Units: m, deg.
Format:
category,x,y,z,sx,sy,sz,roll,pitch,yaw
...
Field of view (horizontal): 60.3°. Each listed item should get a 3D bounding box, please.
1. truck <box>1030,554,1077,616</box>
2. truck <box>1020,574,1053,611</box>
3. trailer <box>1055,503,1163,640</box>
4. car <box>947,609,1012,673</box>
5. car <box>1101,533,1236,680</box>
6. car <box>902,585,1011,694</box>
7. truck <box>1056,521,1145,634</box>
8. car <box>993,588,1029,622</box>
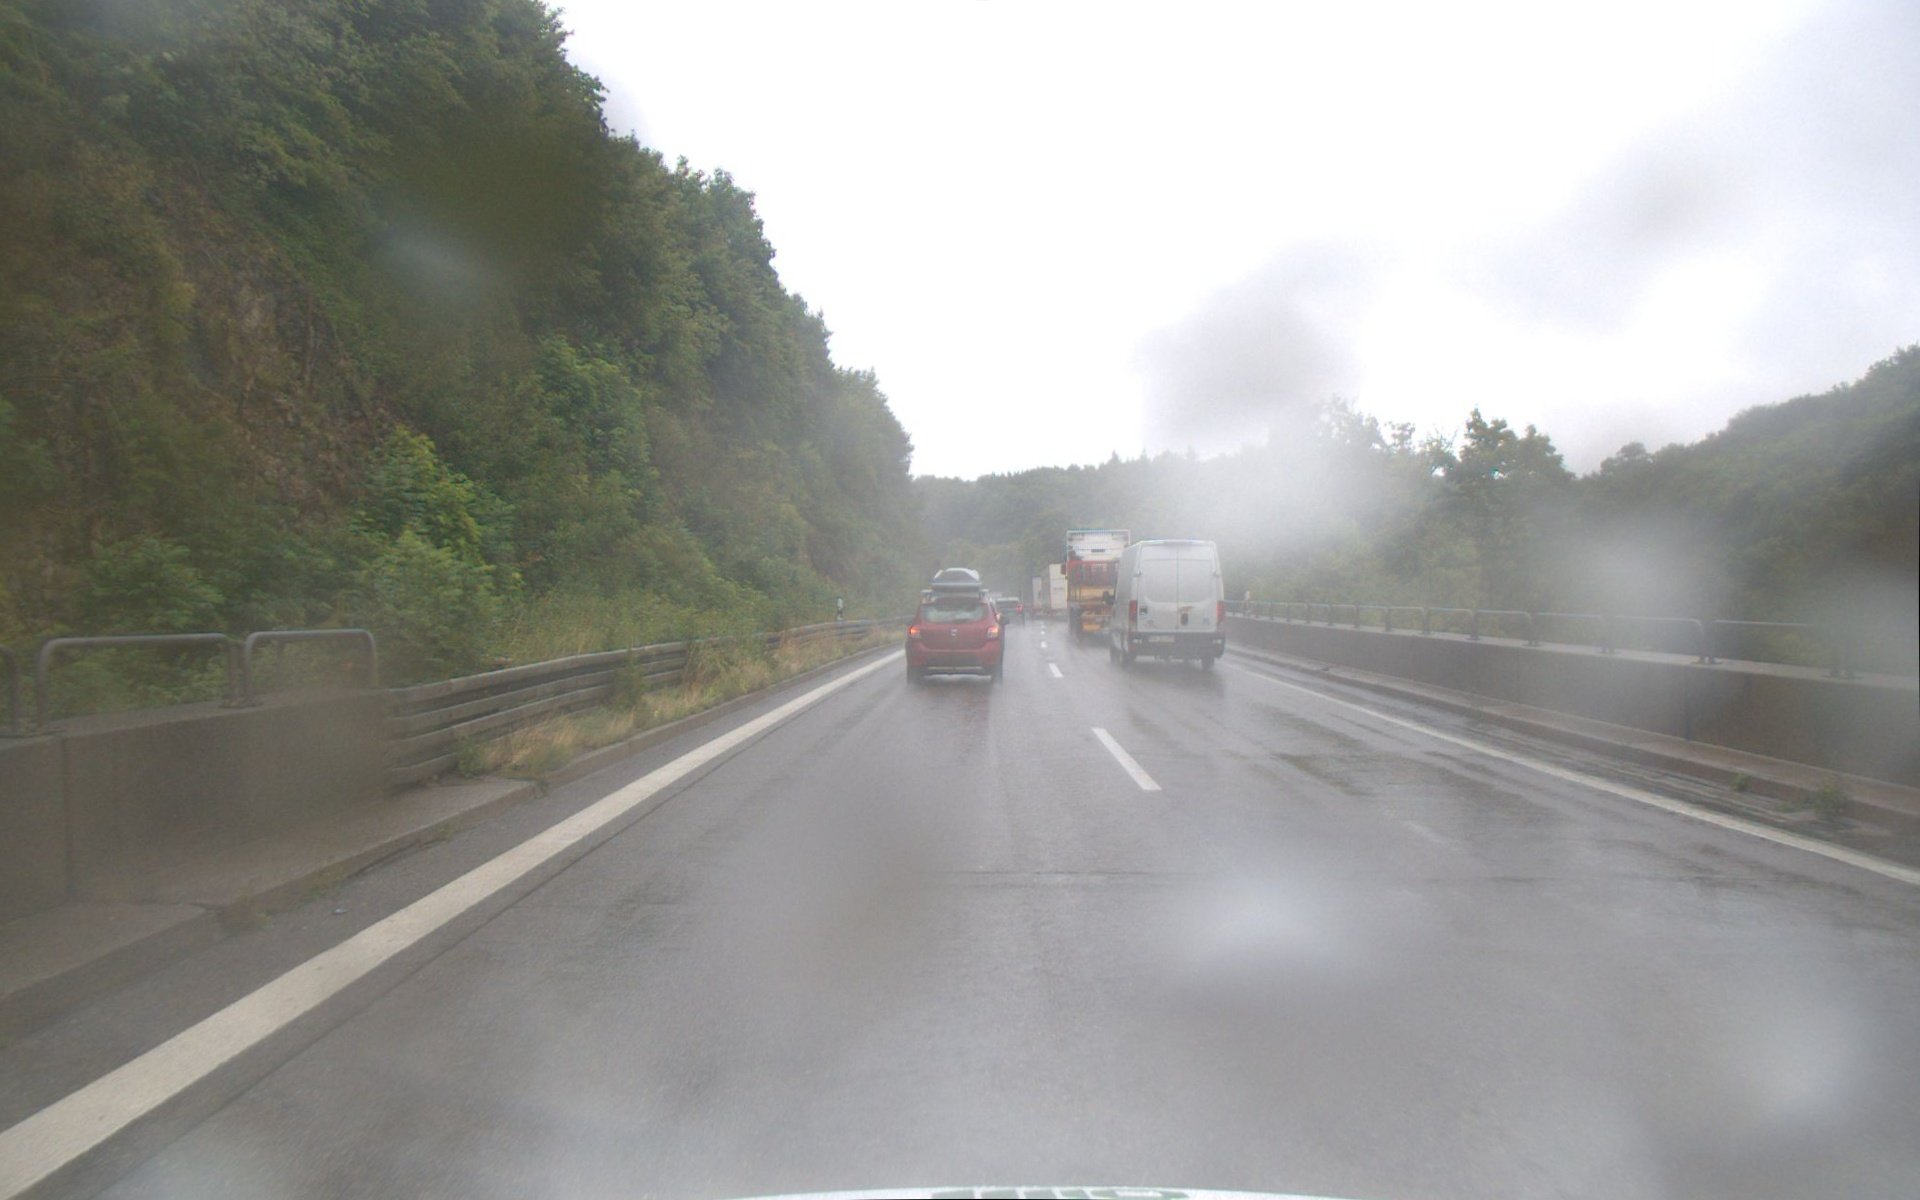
category,x,y,z,sx,sy,sz,roll,pitch,yaw
truck,6.702,-1.029,119.556,2.632,4.165,9.315,-4,0,0
truck,7.211,-0.678,156.601,2.998,3.369,8.072,0,0,1
trailer,4.913,-0.890,56.874,3.151,4.068,13.529,-1,0,3
car,0.562,1.197,49.689,1.795,1.744,3.645,-4,0,0
car,4.362,0.119,35.878,2.160,2.843,7.383,0,0,1
car,-0.055,0.671,29.790,1.722,1.714,4.000,-4,0,0
truck,5.293,-0.827,63.319,3.152,4.047,5.441,-1,0,3
car,2.799,0.274,91.786,1.836,1.735,3.889,-4,0,1
